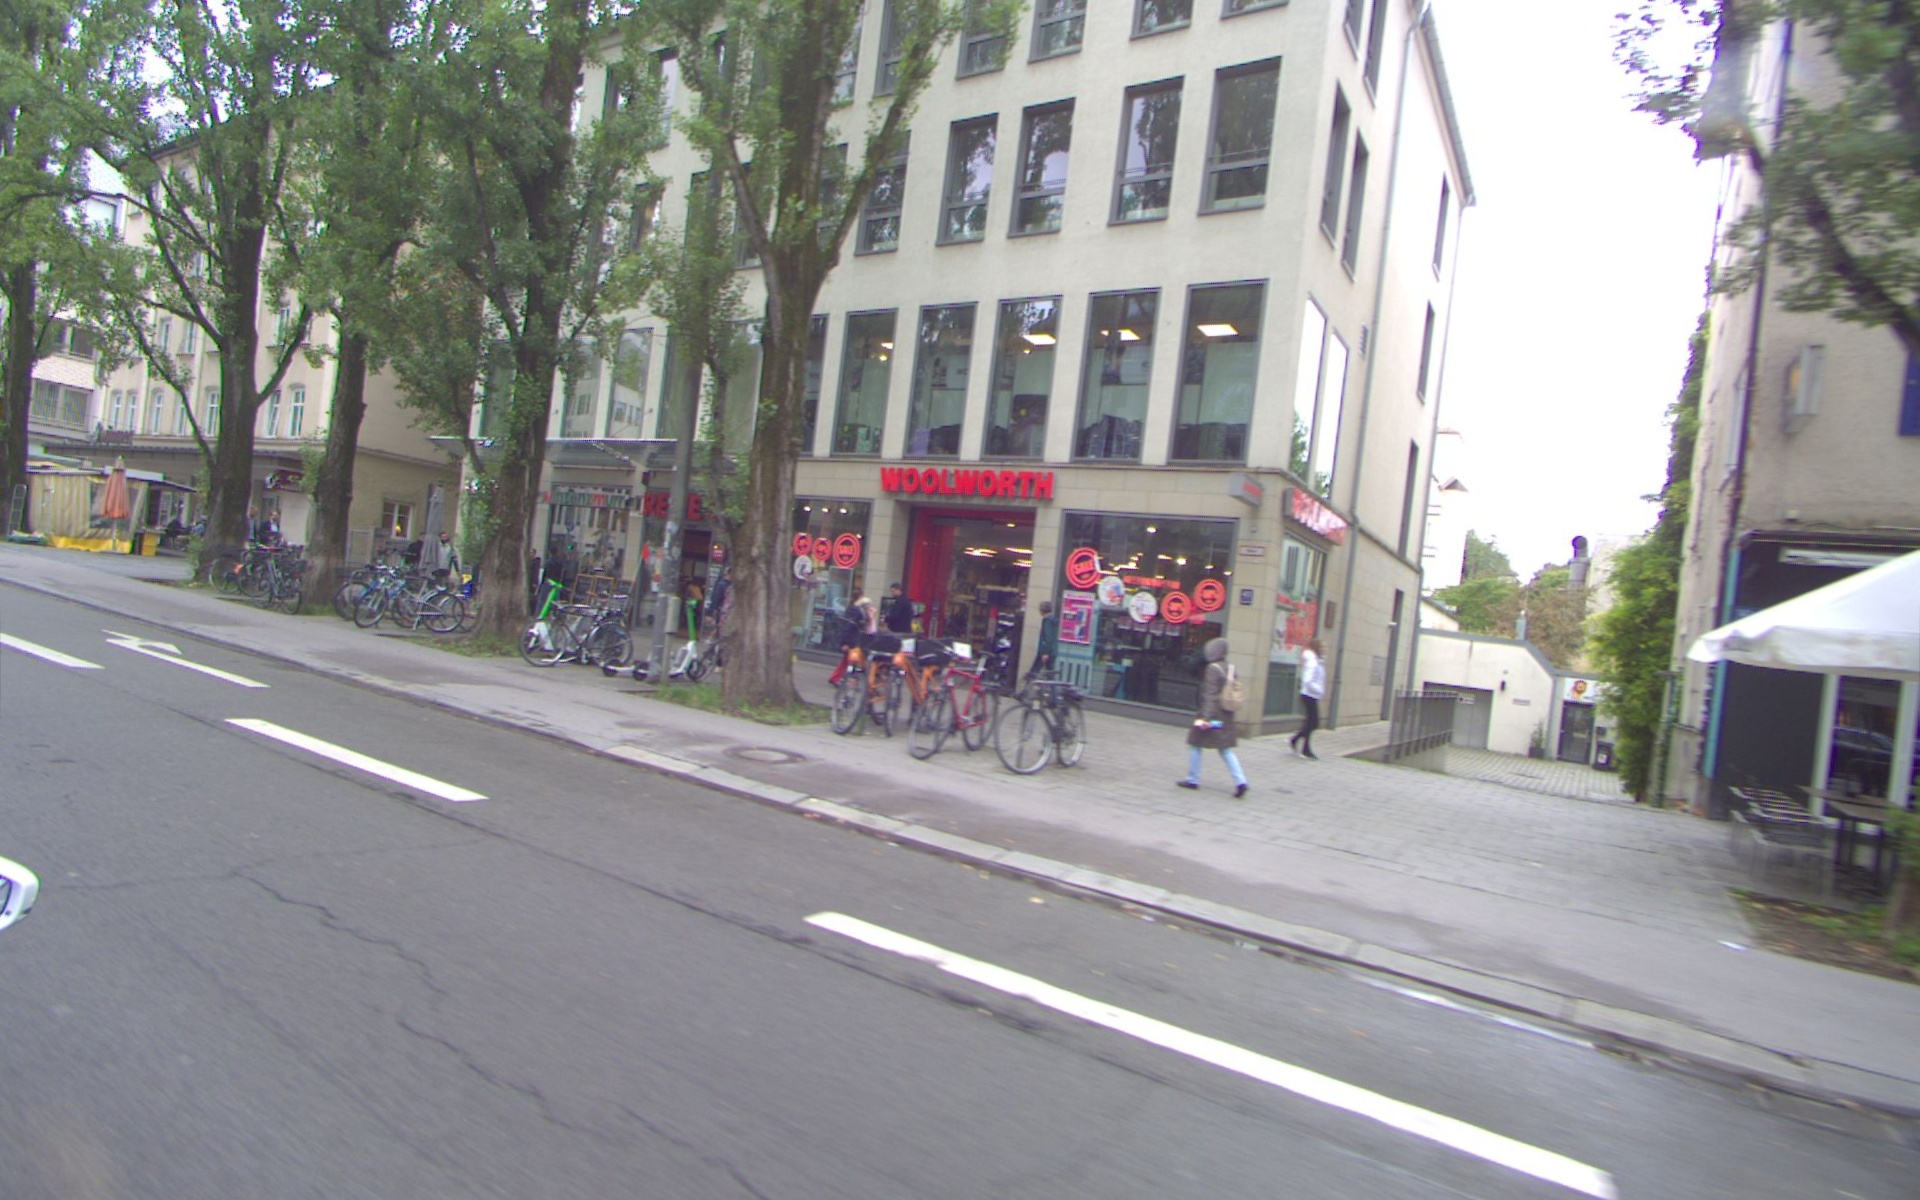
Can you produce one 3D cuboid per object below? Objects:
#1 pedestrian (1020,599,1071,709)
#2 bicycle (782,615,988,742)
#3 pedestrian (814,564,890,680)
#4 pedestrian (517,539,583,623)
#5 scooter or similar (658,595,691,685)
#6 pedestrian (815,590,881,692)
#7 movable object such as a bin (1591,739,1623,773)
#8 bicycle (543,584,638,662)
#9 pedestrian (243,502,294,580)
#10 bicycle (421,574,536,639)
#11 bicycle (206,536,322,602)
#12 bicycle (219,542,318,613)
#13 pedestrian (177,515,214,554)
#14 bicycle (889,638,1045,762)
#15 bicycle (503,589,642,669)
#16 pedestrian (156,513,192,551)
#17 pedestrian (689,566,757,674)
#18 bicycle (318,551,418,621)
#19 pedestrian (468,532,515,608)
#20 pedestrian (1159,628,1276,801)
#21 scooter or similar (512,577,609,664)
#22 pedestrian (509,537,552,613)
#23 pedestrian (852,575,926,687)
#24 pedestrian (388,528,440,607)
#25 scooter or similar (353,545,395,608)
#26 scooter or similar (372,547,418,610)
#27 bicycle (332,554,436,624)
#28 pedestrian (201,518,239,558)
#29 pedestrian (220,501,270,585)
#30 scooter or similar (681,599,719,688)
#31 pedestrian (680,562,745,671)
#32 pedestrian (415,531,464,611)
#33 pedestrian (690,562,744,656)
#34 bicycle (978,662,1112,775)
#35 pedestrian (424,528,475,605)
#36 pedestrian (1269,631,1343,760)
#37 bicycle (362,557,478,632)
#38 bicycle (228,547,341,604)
[{"bbox_3d":[1.465,0.920,17.264,0.629,1.789,0.548,7,0,4],"label":"pedestrian"},{"bbox_3d":[-0.795,0.923,11.825,0.949,1.230,2.574,7,0,32],"label":"bicycle"},{"bbox_3d":[-1.869,0.385,17.433,0.808,1.893,0.752,7,1,35],"label":"pedestrian"},{"bbox_3d":[-9.741,-0.439,23.936,0.962,1.836,0.814,7,0,11],"label":"pedestrian"},{"bbox_3d":[-4.016,0.547,14.169,0.281,1.183,1.241,7,-1,-15],"label":"scooter or similar"},{"bbox_3d":[-1.822,0.669,16.335,0.686,1.538,0.565,7,0,35],"label":"pedestrian"},{"bbox_3d":[23.690,5.703,36.822,0.891,1.055,0.887,6,-2,34],"label":"movable object such as a bin"},{"bbox_3d":[-6.218,0.374,16.889,1.974,1.076,0.391,7,2,36],"label":"bicycle"},{"bbox_3d":[-17.889,-1.519,26.013,0.891,1.873,0.657,7,1,34],"label":"pedestrian"},{"bbox_3d":[-8.621,0.137,18.103,0.386,0.999,2.005,7,-1,24],"label":"bicycle"},{"bbox_3d":[-14.254,-0.616,20.674,0.281,1.095,2.005,7,-2,24],"label":"bicycle"},{"bbox_3d":[-12.779,-0.415,18.580,1.968,1.074,0.434,7,1,22],"label":"bicycle"},{"bbox_3d":[-28.014,-2.383,36.855,0.688,1.280,0.776,7,0,33],"label":"pedestrian"},{"bbox_3d":[0.122,1.068,10.894,0.675,1.140,1.900,7,0,32],"label":"bicycle"},{"bbox_3d":[-5.568,0.446,14.550,0.387,1.022,1.836,7,1,41],"label":"bicycle"},{"bbox_3d":[-29.747,-2.569,38.081,0.688,1.280,0.776,7,0,33],"label":"pedestrian"},{"bbox_3d":[-3.898,0.329,16.544,0.739,1.668,0.546,7,0,35],"label":"pedestrian"},{"bbox_3d":[-10.758,-0.228,18.340,0.281,1.131,1.678,7,0,20],"label":"bicycle"},{"bbox_3d":[-11.739,-0.748,25.214,0.663,1.806,0.657,7,1,34],"label":"pedestrian"},{"bbox_3d":[2.632,1.143,10.293,0.781,1.610,0.709,8,2,38],"label":"pedestrian"},{"bbox_3d":[-6.099,0.322,15.369,1.230,1.183,0.400,7,-1,-29],"label":"scooter or similar"},{"bbox_3d":[-10.792,-0.615,25.277,0.663,1.806,0.565,7,1,34],"label":"pedestrian"},{"bbox_3d":[-1.275,0.565,18.121,0.808,1.876,0.752,7,0,34],"label":"pedestrian"},{"bbox_3d":[-12.785,-0.758,23.552,0.680,1.731,0.657,7,1,31],"label":"pedestrian"},{"bbox_3d":[-12.957,-0.526,22.227,1.019,1.289,0.247,7,0,33],"label":"scooter or similar"},{"bbox_3d":[-12.673,-0.489,22.560,1.019,1.289,0.330,7,0,33],"label":"scooter or similar"},{"bbox_3d":[-10.384,-0.176,18.201,0.389,1.120,1.666,7,0,20],"label":"bicycle"},{"bbox_3d":[-26.070,-2.179,35.455,0.688,1.280,0.776,7,0,33],"label":"pedestrian"},{"bbox_3d":[-17.829,-1.418,25.085,0.711,1.996,0.656,8,1,35],"label":"pedestrian"},{"bbox_3d":[-3.707,0.594,14.300,0.303,1.183,1.240,7,-1,-18],"label":"scooter or similar"},{"bbox_3d":[-4.211,0.282,17.146,0.686,1.763,0.565,7,0,35],"label":"pedestrian"},{"bbox_3d":[-12.591,-0.700,24.340,0.680,1.842,0.622,7,1,31],"label":"pedestrian"},{"bbox_3d":[-4.916,0.185,20.374,0.631,1.789,0.594,7,0,30],"label":"pedestrian"},{"bbox_3d":[0.925,1.204,10.451,0.495,1.021,1.841,7,0,32],"label":"bicycle"},{"bbox_3d":[-13.028,-0.851,25.673,0.744,1.836,0.743,7,0,36],"label":"pedestrian"},{"bbox_3d":[4.878,1.339,14.172,0.680,1.684,0.667,7,0,31],"label":"pedestrian"},{"bbox_3d":[-9.366,-0.072,17.529,0.334,1.149,1.870,7,0,24],"label":"bicycle"},{"bbox_3d":[-13.847,-0.482,20.685,0.281,0.956,2.005,7,-1,24],"label":"bicycle"}]
